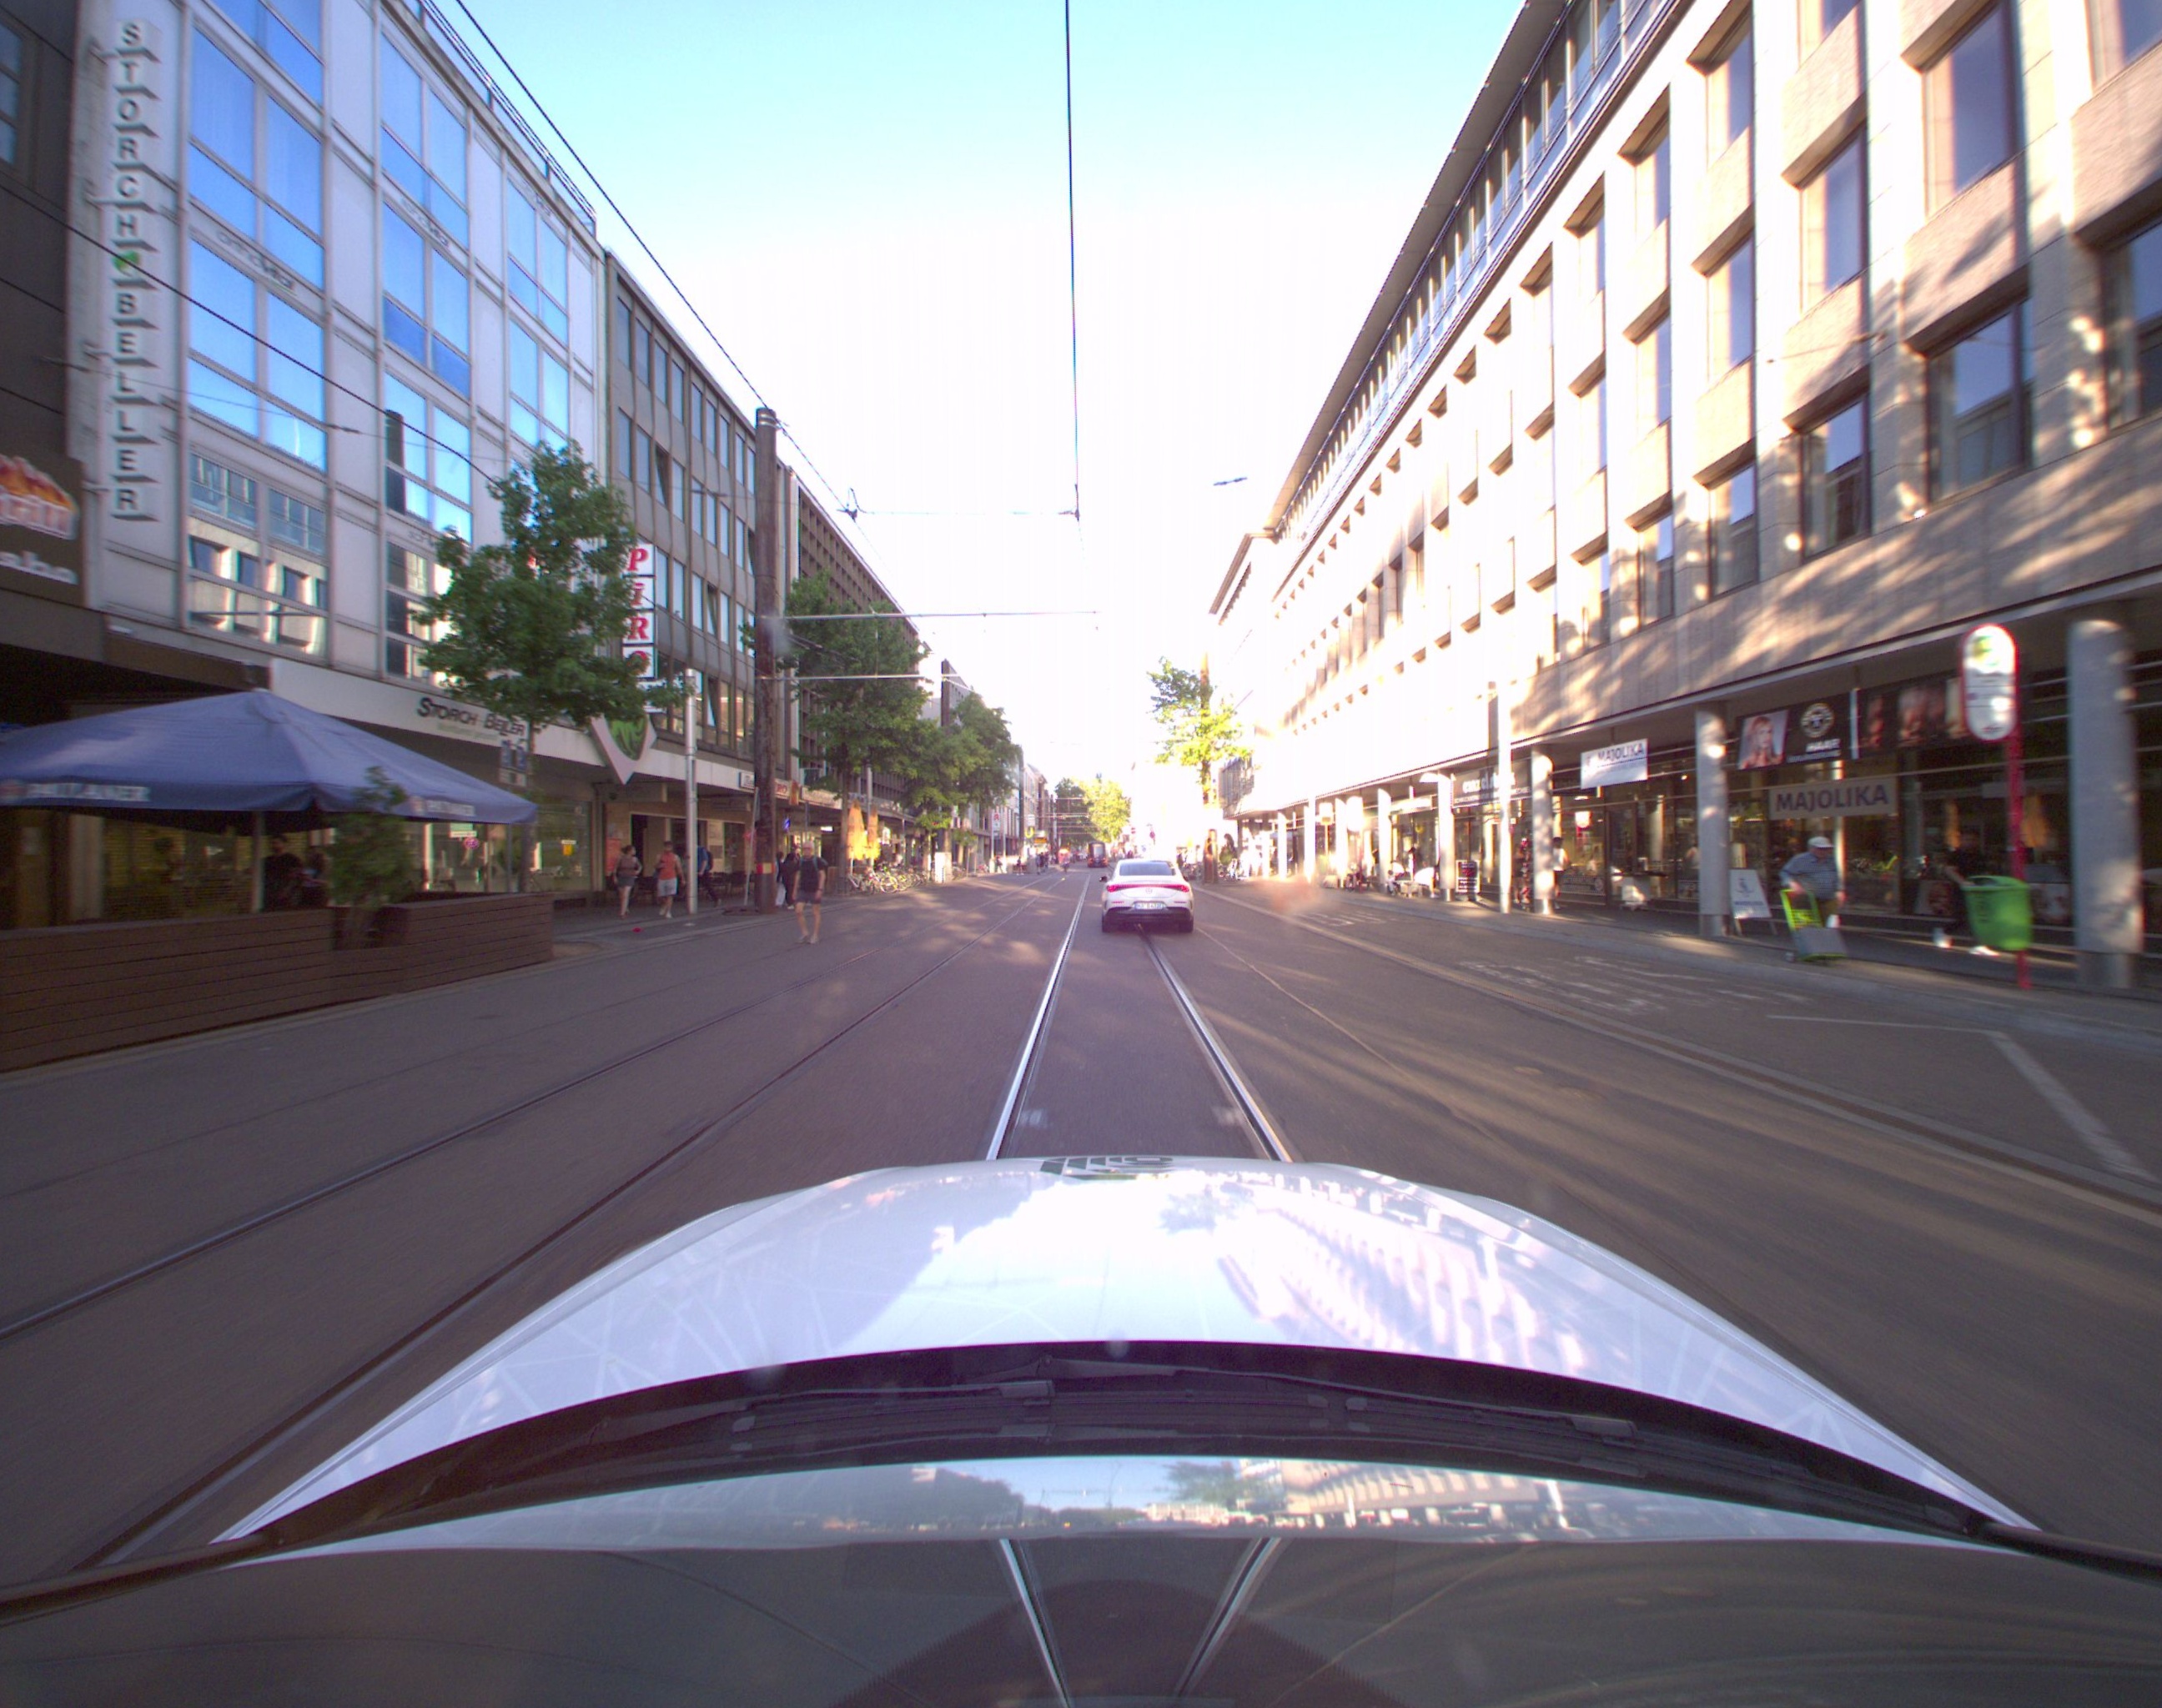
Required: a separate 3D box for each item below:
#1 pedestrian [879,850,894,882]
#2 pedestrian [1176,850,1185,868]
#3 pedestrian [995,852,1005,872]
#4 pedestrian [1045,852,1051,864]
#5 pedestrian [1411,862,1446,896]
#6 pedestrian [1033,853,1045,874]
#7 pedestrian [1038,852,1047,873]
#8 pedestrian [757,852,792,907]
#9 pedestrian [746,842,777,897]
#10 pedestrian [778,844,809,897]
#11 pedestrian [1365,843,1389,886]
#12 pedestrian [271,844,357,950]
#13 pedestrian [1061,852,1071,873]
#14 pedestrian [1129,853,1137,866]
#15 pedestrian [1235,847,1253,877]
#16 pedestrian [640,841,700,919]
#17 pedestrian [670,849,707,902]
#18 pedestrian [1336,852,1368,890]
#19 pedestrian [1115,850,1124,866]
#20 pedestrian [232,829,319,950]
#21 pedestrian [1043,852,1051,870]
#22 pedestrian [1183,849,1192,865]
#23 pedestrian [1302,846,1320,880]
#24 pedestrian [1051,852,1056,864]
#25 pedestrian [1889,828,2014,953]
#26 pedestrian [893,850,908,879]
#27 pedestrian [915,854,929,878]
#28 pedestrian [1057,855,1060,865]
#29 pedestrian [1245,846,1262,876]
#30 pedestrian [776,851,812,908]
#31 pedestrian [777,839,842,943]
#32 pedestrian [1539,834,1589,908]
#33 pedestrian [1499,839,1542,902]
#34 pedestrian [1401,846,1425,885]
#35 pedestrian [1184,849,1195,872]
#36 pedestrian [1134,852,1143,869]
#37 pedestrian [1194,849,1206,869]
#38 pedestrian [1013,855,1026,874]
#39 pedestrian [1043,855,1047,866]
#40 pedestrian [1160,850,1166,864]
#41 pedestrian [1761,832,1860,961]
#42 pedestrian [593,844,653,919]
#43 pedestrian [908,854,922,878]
[{"bbox_3d":[-11.151,0.681,46.592,0.717,1.766,0.679,-1,0,-24],"label":"pedestrian"},{"bbox_3d":[9.621,0.464,78.582,0.834,1.662,0.786,-1,0,3],"label":"pedestrian"},{"bbox_3d":[-7.143,0.732,71.681,0.835,1.717,0.785,-1,0,-1],"label":"pedestrian"},{"bbox_3d":[-4.420,0.544,109.029,0.658,1.599,0.573,-1,0,0],"label":"pedestrian"},{"bbox_3d":[10.844,0.771,25.426,0.832,1.031,0.697,0,0,5],"label":"pedestrian"},{"bbox_3d":[-3.489,0.767,67.920,0.901,1.698,0.849,-1,0,1],"label":"pedestrian"},{"bbox_3d":[-3.537,0.781,75.292,0.534,1.929,0.576,-1,0,45],"label":"pedestrian"},{"bbox_3d":[-8.625,0.704,22.953,0.620,1.509,0.833,2,0,1],"label":"pedestrian"},{"bbox_3d":[-10.746,0.508,27.420,0.620,1.804,0.934,2,0,1],"label":"pedestrian"},{"bbox_3d":[-9.678,0.556,27.456,0.620,1.747,0.934,2,0,1],"label":"pedestrian"},{"bbox_3d":[12.326,0.426,33.925,0.713,1.741,0.835,0,0,1],"label":"pedestrian"},{"bbox_3d":[-11.453,0.623,12.180,0.595,1.533,0.672,1,0,1],"label":"pedestrian"},{"bbox_3d":[-1.310,0.749,72.336,0.797,1.782,0.849,1,0,0],"label":"pedestrian"},{"bbox_3d":[6.868,0.718,107.138,0.957,1.785,0.804,-2,0,0],"label":"pedestrian"},{"bbox_3d":[10.033,0.497,50.193,0.897,1.744,0.689,-4,0,0],"label":"pedestrian"},{"bbox_3d":[-9.491,0.575,18.821,0.842,1.741,0.839,1,0,21],"label":"pedestrian"},{"bbox_3d":[-11.646,0.617,24.182,0.620,1.526,0.809,2,0,1],"label":"pedestrian"},{"bbox_3d":[10.080,0.631,30.314,0.836,1.377,0.772,0,0,-22],"label":"pedestrian"},{"bbox_3d":[4.617,0.475,97.054,0.957,1.785,0.804,-2,0,0],"label":"pedestrian"},{"bbox_3d":[-12.040,0.513,12.190,0.595,1.745,0.672,1,0,1],"label":"pedestrian"},{"bbox_3d":[-3.360,0.667,81.146,0.544,1.760,0.524,-1,0,29],"label":"pedestrian"},{"bbox_3d":[11.342,0.358,86.687,0.815,1.685,0.804,-2,0,0],"label":"pedestrian"},{"bbox_3d":[11.279,0.452,39.963,0.634,1.653,0.781,0,0,2],"label":"pedestrian"},{"bbox_3d":[-3.677,0.540,109.102,0.658,1.599,0.573,-1,0,0],"label":"pedestrian"},{"bbox_3d":[11.625,0.468,10.911,0.693,1.589,0.926,0,0,1],"label":"pedestrian"},{"bbox_3d":[-11.212,0.663,50.584,0.789,1.766,0.533,-1,0,-24],"label":"pedestrian"},{"bbox_3d":[-11.527,0.862,59.168,0.729,1.761,0.810,-1,0,-34],"label":"pedestrian"},{"bbox_3d":[-3.795,0.940,135.155,0.412,1.630,0.606,-1,0,1],"label":"pedestrian"},{"bbox_3d":[10.601,0.423,50.016,0.699,1.812,1.033,-4,0,0],"label":"pedestrian"},{"bbox_3d":[-7.951,0.691,22.604,0.620,1.550,0.852,2,0,1],"label":"pedestrian"},{"bbox_3d":[-4.828,0.642,14.512,0.838,1.801,0.791,1,0,2],"label":"pedestrian"},{"bbox_3d":[11.917,0.410,20.133,0.741,1.793,0.858,0,0,1],"label":"pedestrian"},{"bbox_3d":[12.033,0.439,22.314,0.741,1.700,0.858,0,0,1],"label":"pedestrian"},{"bbox_3d":[13.211,0.449,32.402,0.640,1.542,0.796,0,0,1],"label":"pedestrian"},{"bbox_3d":[8.780,0.538,65.797,0.746,1.785,0.767,-2,0,0],"label":"pedestrian"},{"bbox_3d":[5.846,0.679,82.936,0.744,1.698,0.840,-1,0,-2],"label":"pedestrian"},{"bbox_3d":[10.679,0.447,73.121,0.838,1.785,0.804,-2,0,0],"label":"pedestrian"},{"bbox_3d":[-5.051,0.876,67.158,0.952,1.496,0.944,-1,0,1],"label":"pedestrian"},{"bbox_3d":[-5.146,0.964,116.378,0.658,1.599,0.573,-1,0,0],"label":"pedestrian"},{"bbox_3d":[11.077,0.392,110.100,0.724,1.785,0.707,-1,0,0],"label":"pedestrian"},{"bbox_3d":[9.250,0.519,10.349,0.679,1.572,0.632,1,0,1],"label":"pedestrian"},{"bbox_3d":[-10.250,0.597,18.227,0.841,1.638,0.766,1,0,21],"label":"pedestrian"},{"bbox_3d":[-12.328,0.897,60.482,0.813,1.761,0.779,-1,0,-1],"label":"pedestrian"}]
